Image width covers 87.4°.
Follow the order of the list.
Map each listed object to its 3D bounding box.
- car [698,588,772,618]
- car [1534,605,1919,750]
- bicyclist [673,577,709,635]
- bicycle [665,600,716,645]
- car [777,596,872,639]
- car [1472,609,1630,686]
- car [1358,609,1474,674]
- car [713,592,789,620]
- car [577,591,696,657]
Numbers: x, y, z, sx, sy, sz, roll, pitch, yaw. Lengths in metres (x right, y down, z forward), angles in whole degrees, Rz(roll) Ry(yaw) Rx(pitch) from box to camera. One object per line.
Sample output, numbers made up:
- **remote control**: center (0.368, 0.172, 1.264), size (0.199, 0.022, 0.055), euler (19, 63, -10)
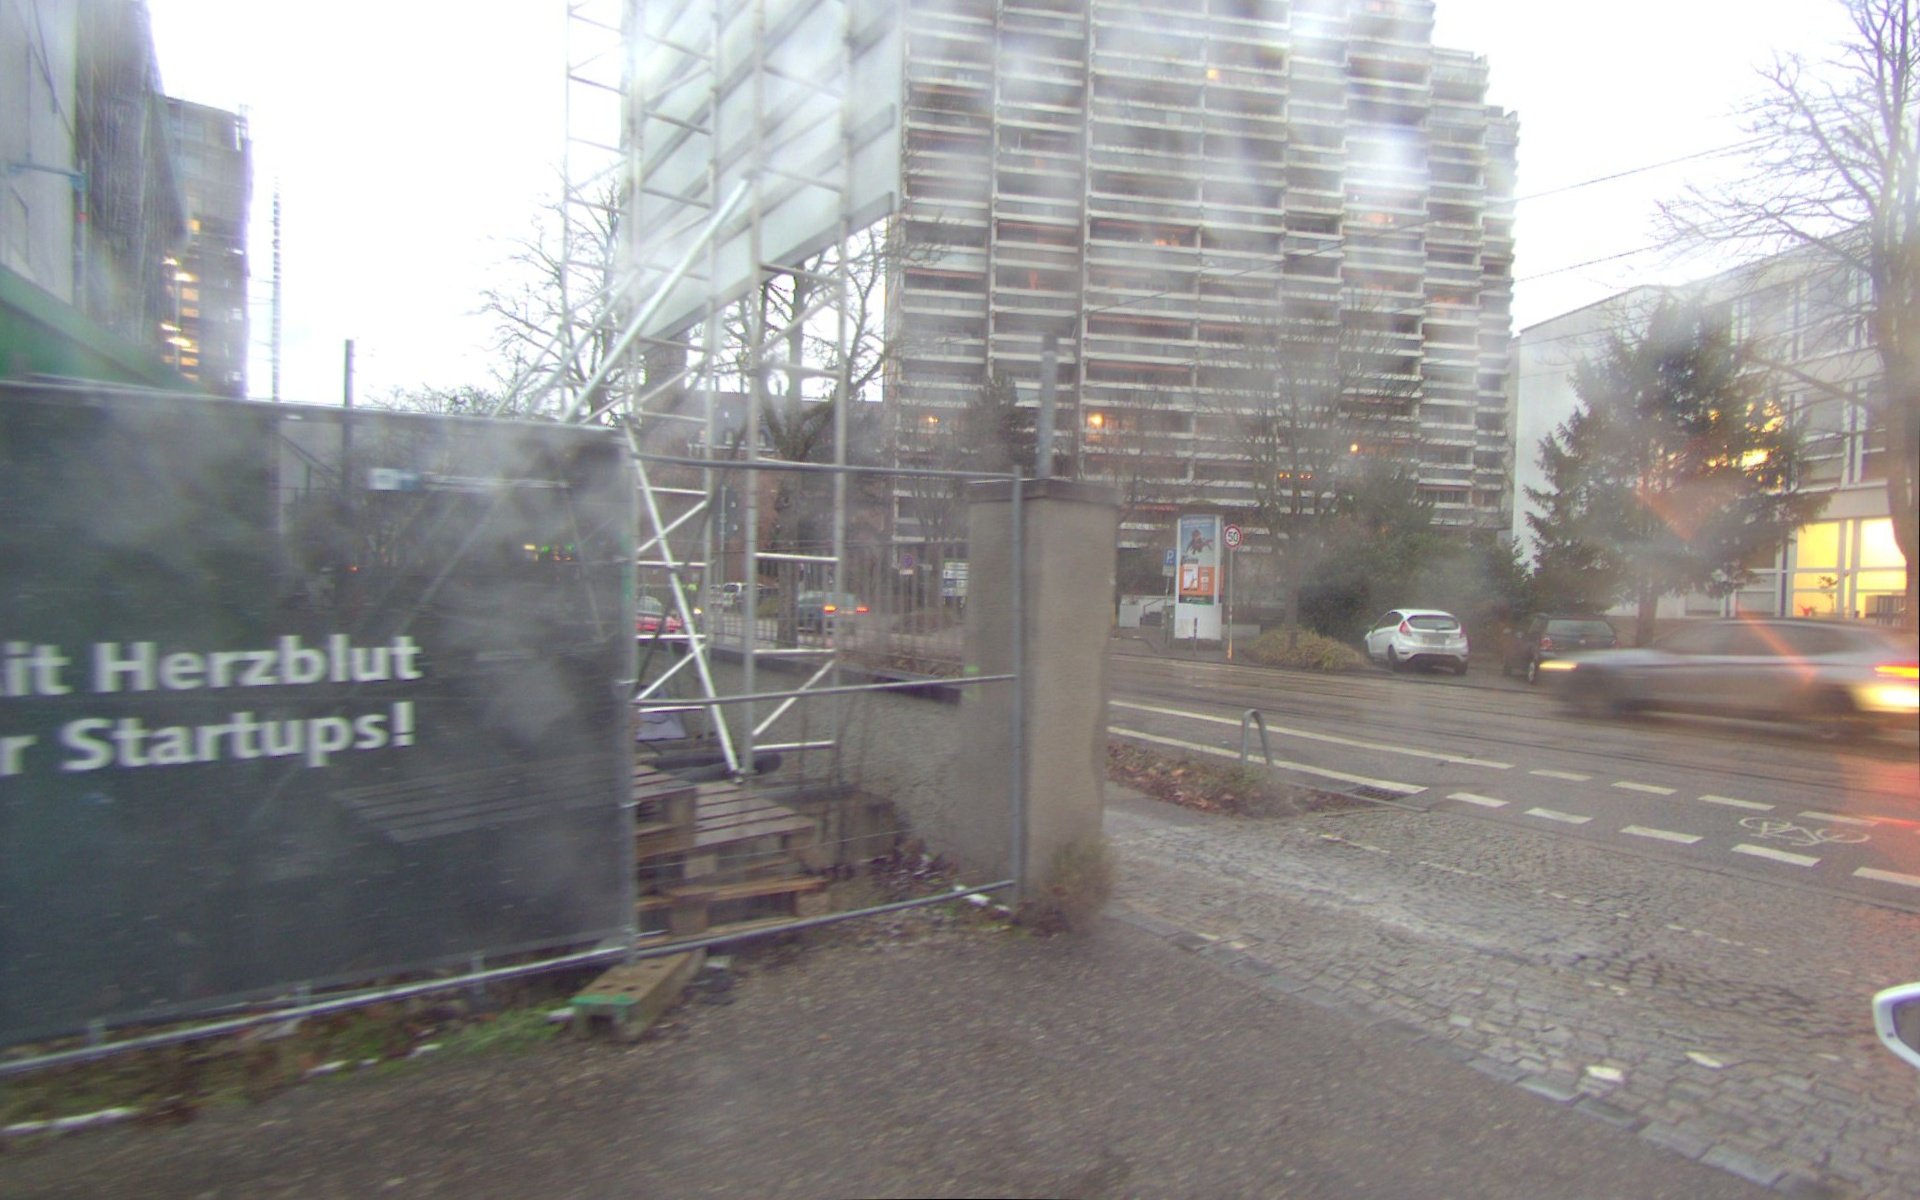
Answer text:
- **car**: center (-13.608, 0.173, 60.649), size (3.952, 1.662, 1.984), euler (2, 0, -30)
- **car**: center (10.534, 0.925, 13.738), size (1.696, 1.600, 4.335), euler (2, 0, -36)
- **bicyclist**: center (-7.020, 0.152, 26.191), size (0.651, 1.465, 0.842), euler (2, 0, -32)
- **bicycle**: center (-7.042, 0.566, 26.211), size (0.702, 1.111, 2.011), euler (2, 0, -32)
- **car**: center (-4.926, 0.609, 36.115), size (1.749, 1.430, 3.961), euler (2, 0, -34)
- **car**: center (12.775, 0.966, 21.994), size (1.818, 1.482, 4.002), euler (2, 0, 13)
- **car**: center (11.164, 0.968, 24.848), size (1.818, 1.418, 4.002), euler (2, 0, 13)
- **car**: center (-12.070, 0.373, 58.123), size (3.952, 1.506, 1.659), euler (2, 0, -30)
- **car**: center (-7.711, 0.534, 23.742), size (1.736, 1.405, 3.702), euler (2, 0, -33)
